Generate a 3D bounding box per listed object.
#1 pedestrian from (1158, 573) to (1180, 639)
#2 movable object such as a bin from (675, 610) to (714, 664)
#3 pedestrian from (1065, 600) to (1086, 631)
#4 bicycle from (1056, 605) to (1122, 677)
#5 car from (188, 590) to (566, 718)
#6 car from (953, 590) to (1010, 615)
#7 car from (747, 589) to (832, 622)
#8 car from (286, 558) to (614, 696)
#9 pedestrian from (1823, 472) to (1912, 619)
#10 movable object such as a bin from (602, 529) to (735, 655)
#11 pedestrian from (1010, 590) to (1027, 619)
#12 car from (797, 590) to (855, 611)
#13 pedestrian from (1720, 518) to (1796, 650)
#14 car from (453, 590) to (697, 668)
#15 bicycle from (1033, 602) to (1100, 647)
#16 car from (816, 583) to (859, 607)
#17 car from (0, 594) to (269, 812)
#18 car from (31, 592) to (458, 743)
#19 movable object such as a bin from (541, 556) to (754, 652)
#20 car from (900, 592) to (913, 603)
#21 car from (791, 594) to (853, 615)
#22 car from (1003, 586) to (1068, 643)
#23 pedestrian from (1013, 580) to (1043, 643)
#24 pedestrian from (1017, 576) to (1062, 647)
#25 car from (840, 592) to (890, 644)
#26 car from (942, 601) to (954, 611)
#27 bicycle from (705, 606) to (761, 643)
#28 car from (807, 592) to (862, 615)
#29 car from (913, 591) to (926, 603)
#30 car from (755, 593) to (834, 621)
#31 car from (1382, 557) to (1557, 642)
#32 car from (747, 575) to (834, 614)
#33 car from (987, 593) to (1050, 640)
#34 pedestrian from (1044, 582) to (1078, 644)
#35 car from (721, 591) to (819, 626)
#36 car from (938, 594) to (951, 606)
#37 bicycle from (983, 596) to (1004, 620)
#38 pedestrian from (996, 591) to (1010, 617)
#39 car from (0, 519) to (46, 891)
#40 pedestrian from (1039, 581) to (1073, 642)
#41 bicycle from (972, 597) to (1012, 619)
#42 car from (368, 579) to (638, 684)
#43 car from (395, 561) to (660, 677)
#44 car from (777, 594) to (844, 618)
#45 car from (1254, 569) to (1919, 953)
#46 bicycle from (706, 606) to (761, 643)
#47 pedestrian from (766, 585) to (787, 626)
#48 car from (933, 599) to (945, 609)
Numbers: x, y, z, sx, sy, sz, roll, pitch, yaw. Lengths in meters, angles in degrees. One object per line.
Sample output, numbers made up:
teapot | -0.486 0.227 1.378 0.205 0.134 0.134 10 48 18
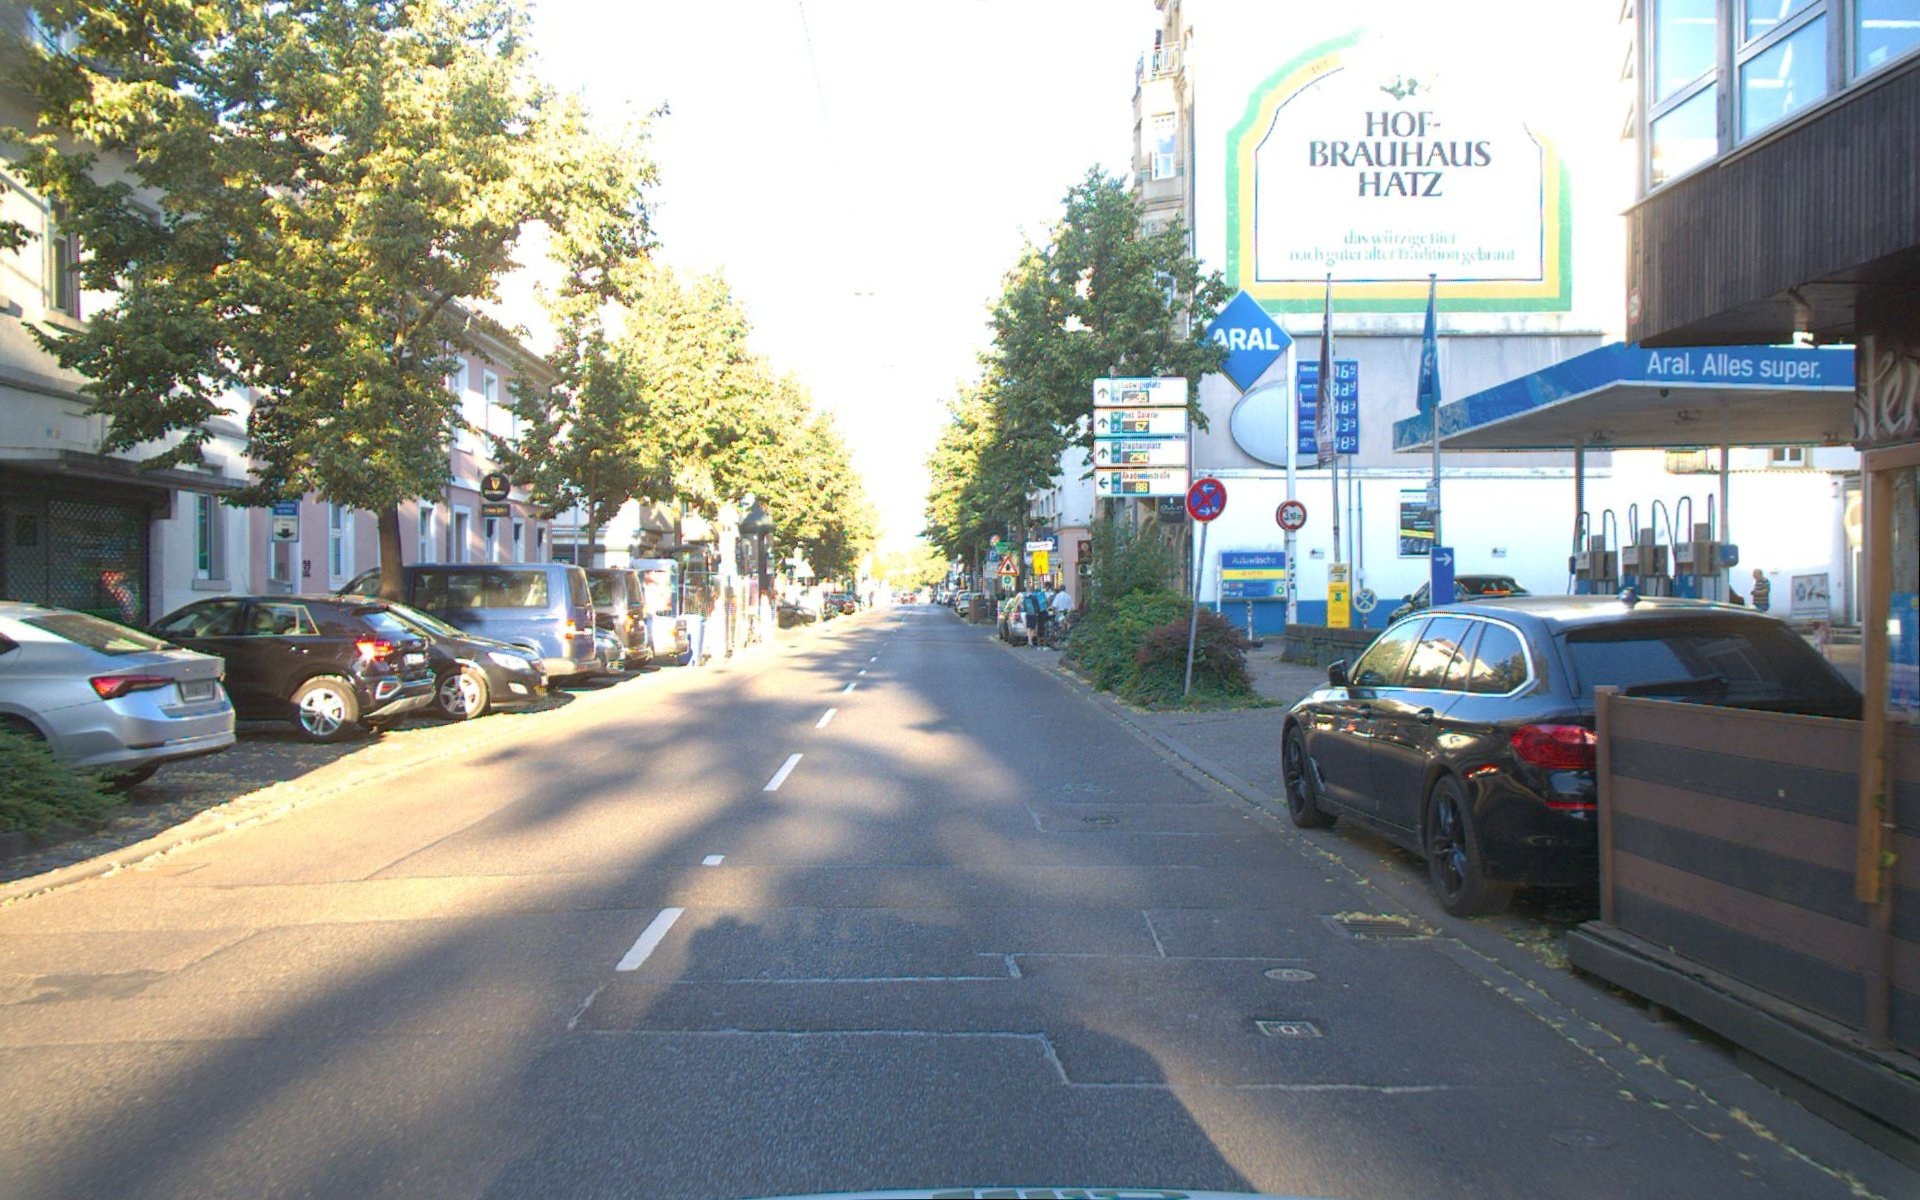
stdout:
pedestrian | 6.111 0.167 48.438 0.452 1.908 0.499 -1 0 -16
movable object such as a bin | -5.764 0.795 35.917 0.675 1.124 0.883 -1 0 0
pedestrian | 4.466 0.599 64.096 0.668 1.161 1.360 -2 -1 -1
bicycle | 2.299 0.712 29.286 0.473 1.163 1.678 -3 0 29
car | -7.364 0.671 21.269 4.243 1.527 1.839 1 0 -7
car | 1.391 0.174 107.038 1.645 1.616 3.801 1 0 41
car | -9.358 0.312 90.971 4.478 1.727 2.060 1 0 -1
car | -7.727 0.390 25.407 4.392 2.010 2.068 0 0 -1
pedestrian | 18.613 -1.095 33.937 1.184 2.958 1.167 1 -1 -1
movable object such as a bin | -7.338 -0.201 42.208 2.572 3.021 5.302 0 0 -2
pedestrian | 4.081 0.324 115.220 0.900 1.959 1.015 1 0 -11
car | -10.501 0.023 129.915 4.352 1.549 1.919 1 0 -1
pedestrian | 18.214 -0.350 37.775 1.184 2.958 1.167 1 -1 -1
car | -7.808 0.567 33.839 4.499 1.495 1.893 1 0 1
bicycle | 2.884 0.644 44.607 0.850 1.118 1.919 -2 1 37
car | -12.898 -0.536 173.809 4.352 2.477 1.919 0 0 -1
car | -7.837 0.717 12.619 4.386 1.511 1.734 1 0 0
car | -7.759 0.703 18.216 3.842 1.527 1.905 1 0 1
movable object such as a bin | -8.683 0.090 46.422 2.272 2.539 5.721 0 0 41
car | -7.720 -0.413 239.202 1.716 1.567 3.303 0 0 0
car | -9.921 0.301 119.054 4.352 1.474 1.919 1 0 -1
car | 2.260 0.421 50.569 1.653 1.602 4.012 -3 0 -1
pedestrian | 1.947 0.333 47.584 0.665 1.785 0.823 -1 0 -12
pedestrian | 2.153 0.315 44.696 0.995 1.857 0.778 -3 0 -11
car | -3.626 0.679 63.820 1.674 1.855 4.012 -3 0 -1
car | -1.491 0.739 204.817 1.482 1.285 3.303 0 0 0
bicycle | -7.199 0.772 52.394 1.647 1.097 0.445 2 -1 6
car | -10.331 0.300 136.420 4.352 1.790 1.919 1 0 -1
car | -5.507 -0.372 225.142 1.716 1.567 3.303 0 0 0
car | -9.571 0.408 95.962 4.352 1.532 1.844 1 0 -1
car | 9.589 0.028 31.554 1.699 1.456 4.906 -1 -1 -2
car | -9.014 -0.295 88.184 4.479 1.996 1.990 1 0 -2
car | 1.909 0.513 55.099 1.749 1.399 4.522 -3 0 -2
pedestrian | 2.880 0.378 47.180 0.657 1.730 0.648 -2 0 45
car | -8.911 0.389 77.780 4.455 1.568 1.810 1 0 -3
car | -1.733 0.032 186.520 1.482 1.298 3.303 0 0 0
bicycle | 1.692 0.401 83.768 0.585 1.198 1.847 0 0 18
pedestrian | 2.338 0.226 89.973 0.711 1.402 0.781 0 0 -1
car | -7.378 0.562 8.005 4.772 1.941 1.973 0 0 -2
pedestrian | 2.769 0.330 47.803 0.666 1.735 0.822 -3 0 -16
bicycle | 1.582 0.402 82.305 1.918 1.092 0.704 0 0 31
car | -7.672 0.514 28.075 4.046 1.665 1.860 1 0 -1
car | -7.889 0.339 30.545 4.394 2.010 1.964 1 0 -4
car | -10.129 0.395 112.418 4.352 1.595 1.919 1 0 -1
car | 3.128 0.652 9.298 1.792 1.514 4.846 -2 0 -3
bicycle | -7.259 0.785 52.989 1.647 1.097 0.445 2 -1 6
pedestrian | -7.832 0.225 70.659 0.695 1.716 0.834 0 0 8
car | -2.882 0.528 227.427 1.482 1.321 3.303 0 0 0
